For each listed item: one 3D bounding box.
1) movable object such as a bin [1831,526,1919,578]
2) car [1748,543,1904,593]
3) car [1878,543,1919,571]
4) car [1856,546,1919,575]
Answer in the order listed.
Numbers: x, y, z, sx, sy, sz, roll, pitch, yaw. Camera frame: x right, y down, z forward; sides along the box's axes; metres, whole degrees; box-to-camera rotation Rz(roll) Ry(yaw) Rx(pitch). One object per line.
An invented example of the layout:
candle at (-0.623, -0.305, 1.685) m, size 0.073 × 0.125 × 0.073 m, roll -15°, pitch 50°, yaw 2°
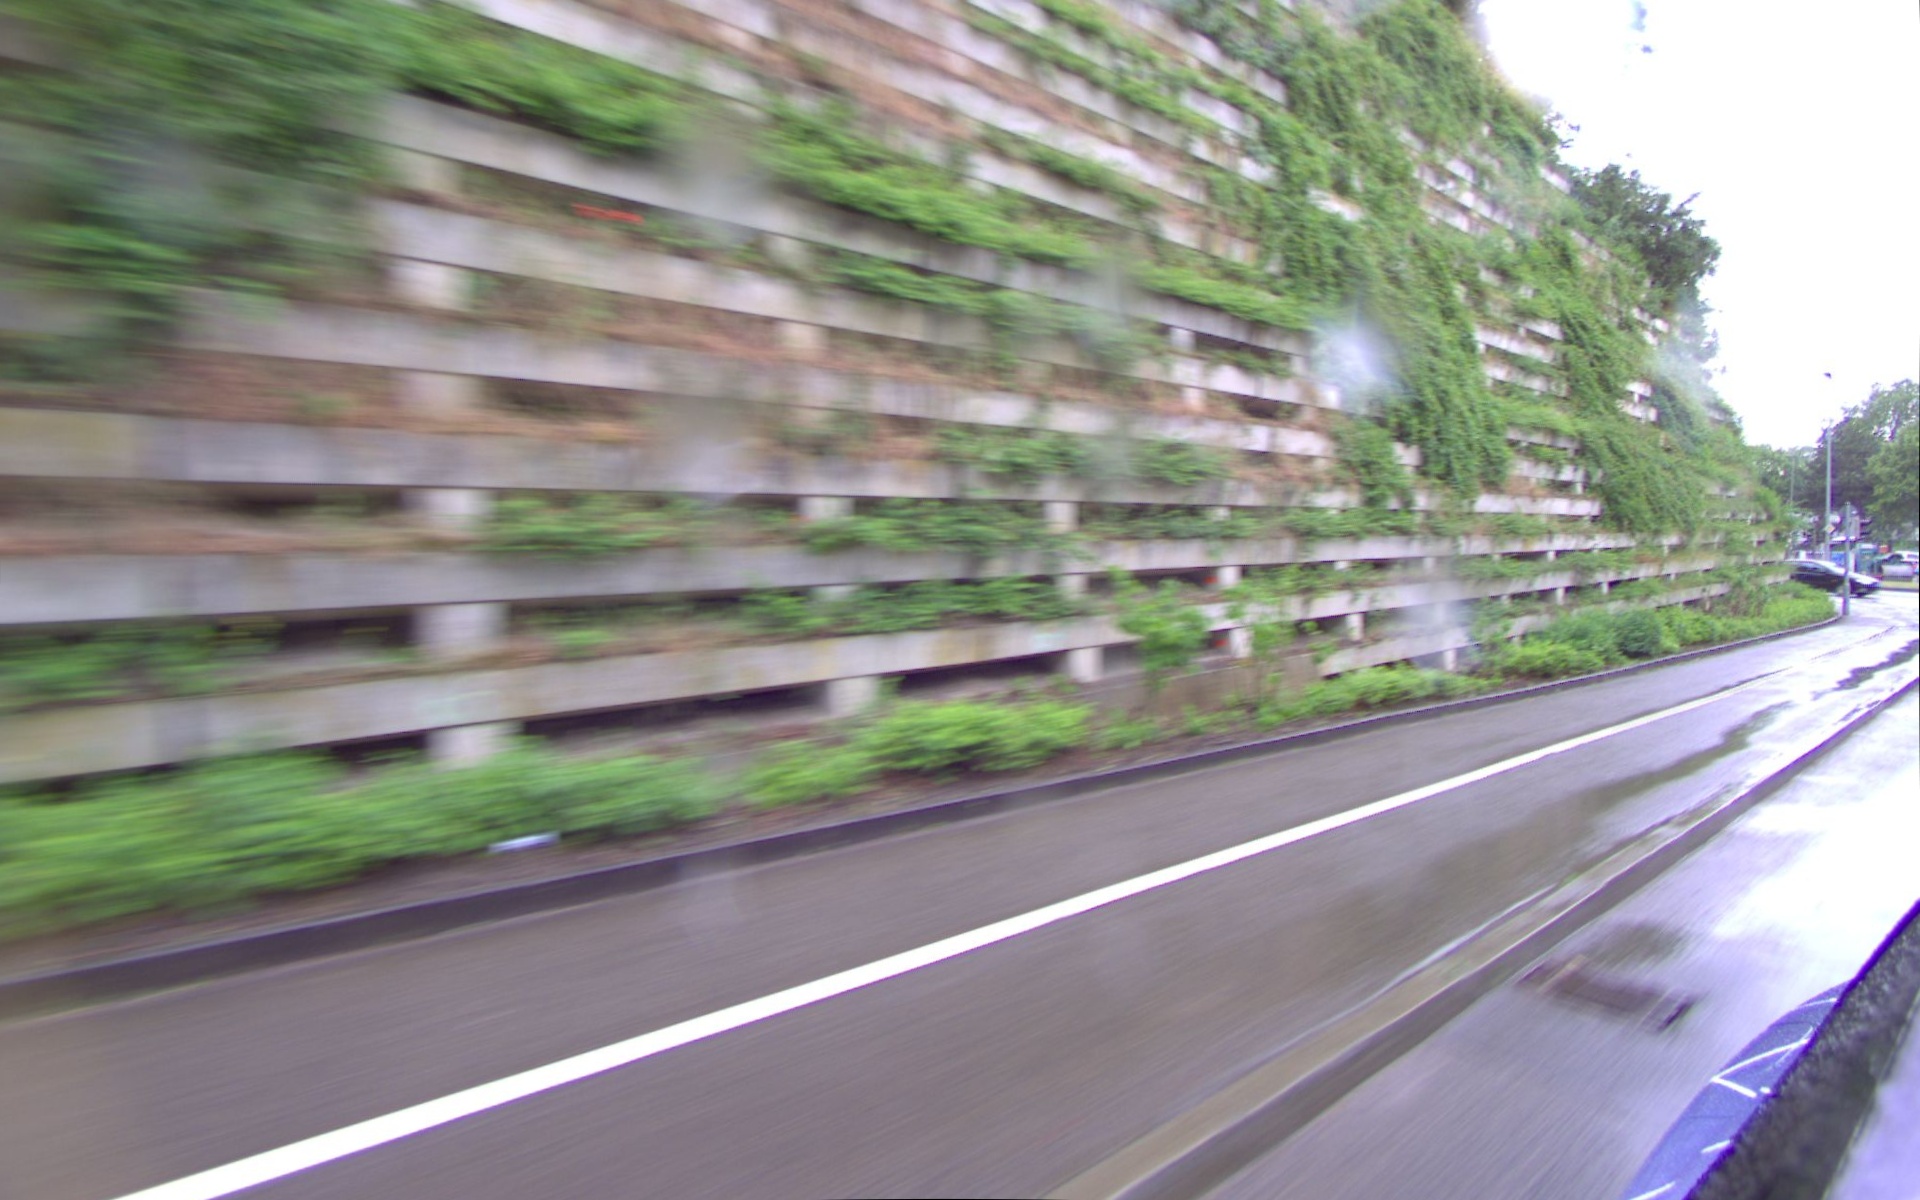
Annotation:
movable object such as a bin at (52.547, -2.710, 57.342) m, size 2.277 × 2.718 × 5.683 m, roll 3°, pitch 3°, yaw 13°
car at (34.806, -1.308, 40.818) m, size 1.899 × 1.900 × 4.397 m, roll -1°, pitch 2°, yaw -30°
car at (65.788, -2.911, 69.063) m, size 1.888 × 1.786 × 4.387 m, roll -2°, pitch 6°, yaw -40°
car at (56.763, -2.364, 60.904) m, size 1.641 × 1.592 × 3.997 m, roll -2°, pitch 6°, yaw -41°
